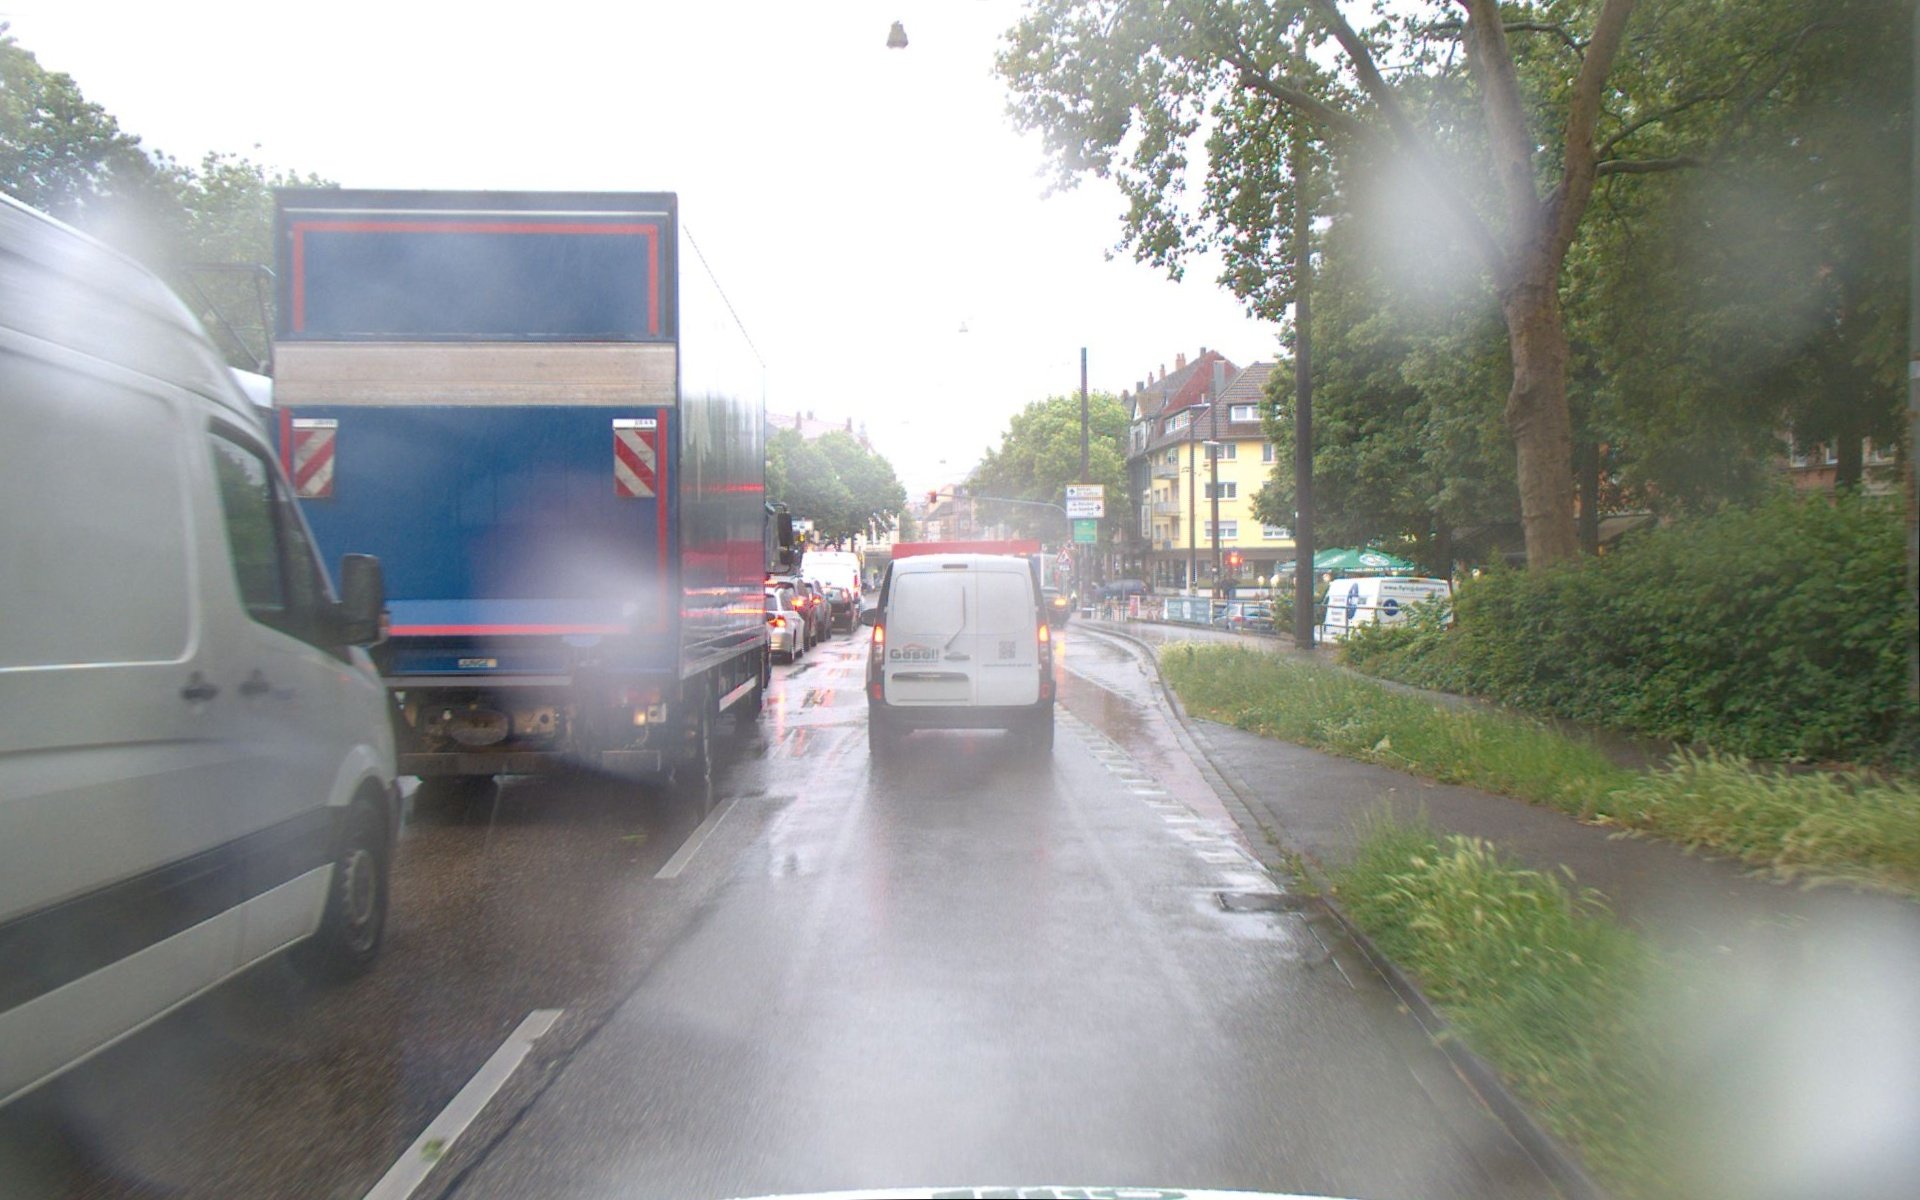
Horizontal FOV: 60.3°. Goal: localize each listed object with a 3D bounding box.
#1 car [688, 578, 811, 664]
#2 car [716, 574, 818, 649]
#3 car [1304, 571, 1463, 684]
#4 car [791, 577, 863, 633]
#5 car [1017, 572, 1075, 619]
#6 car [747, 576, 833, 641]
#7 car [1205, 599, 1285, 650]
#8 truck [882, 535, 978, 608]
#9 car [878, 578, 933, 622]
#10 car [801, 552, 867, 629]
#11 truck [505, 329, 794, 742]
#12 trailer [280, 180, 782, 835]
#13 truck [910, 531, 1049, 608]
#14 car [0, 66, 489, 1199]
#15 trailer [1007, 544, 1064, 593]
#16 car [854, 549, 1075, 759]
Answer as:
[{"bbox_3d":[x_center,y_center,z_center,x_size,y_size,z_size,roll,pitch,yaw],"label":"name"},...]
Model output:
[{"bbox_3d":[-4.058,0.366,32.491,1.953,1.498,4.265,1,1,-2],"label":"car"},{"bbox_3d":[-4.419,0.250,38.496,1.953,1.606,4.290,1,0,-2],"label":"car"},{"bbox_3d":[10.618,0.600,41.988,2.137,2.576,5.773,-2,1,-4],"label":"car"},{"bbox_3d":[-4.069,0.145,51.033,1.953,1.606,4.290,1,0,-2],"label":"car"},{"bbox_3d":[3.032,-0.166,58.580,1.952,1.569,4.001,-1,0,3],"label":"car"},{"bbox_3d":[-4.495,0.216,44.287,1.953,1.606,4.290,1,0,-2],"label":"car"},{"bbox_3d":[9.677,0.811,56.416,1.786,1.516,4.351,-2,1,-3],"label":"car"},{"bbox_3d":[-2.201,-2.022,117.762,3.254,4.985,7.087,-3,1,-37],"label":"truck"},{"bbox_3d":[-1.898,-0.007,58.417,1.724,1.494,3.533,0,0,1],"label":"car"},{"bbox_3d":[-4.261,-0.329,56.548,1.953,2.485,4.610,1,0,-2],"label":"car"},{"bbox_3d":[-3.201,-0.642,17.998,2.529,3.972,3.998,0,0,-2],"label":"truck"},{"bbox_3d":[-3.017,-0.598,13.913,2.538,3.968,7.632,0,1,-3],"label":"trailer"},{"bbox_3d":[1.199,-2.028,113.033,3.254,4.985,11.251,-3,1,-37],"label":"truck"},{"bbox_3d":[-3.262,0.139,4.561,2.282,2.602,6.112,0,-1,-1],"label":"car"},{"bbox_3d":[3.933,-1.583,84.881,1.951,2.357,4.671,0,-1,15],"label":"trailer"},{"bbox_3d":[-0.003,0.482,16.104,1.919,1.808,3.568,0,-1,-2],"label":"car"}]
